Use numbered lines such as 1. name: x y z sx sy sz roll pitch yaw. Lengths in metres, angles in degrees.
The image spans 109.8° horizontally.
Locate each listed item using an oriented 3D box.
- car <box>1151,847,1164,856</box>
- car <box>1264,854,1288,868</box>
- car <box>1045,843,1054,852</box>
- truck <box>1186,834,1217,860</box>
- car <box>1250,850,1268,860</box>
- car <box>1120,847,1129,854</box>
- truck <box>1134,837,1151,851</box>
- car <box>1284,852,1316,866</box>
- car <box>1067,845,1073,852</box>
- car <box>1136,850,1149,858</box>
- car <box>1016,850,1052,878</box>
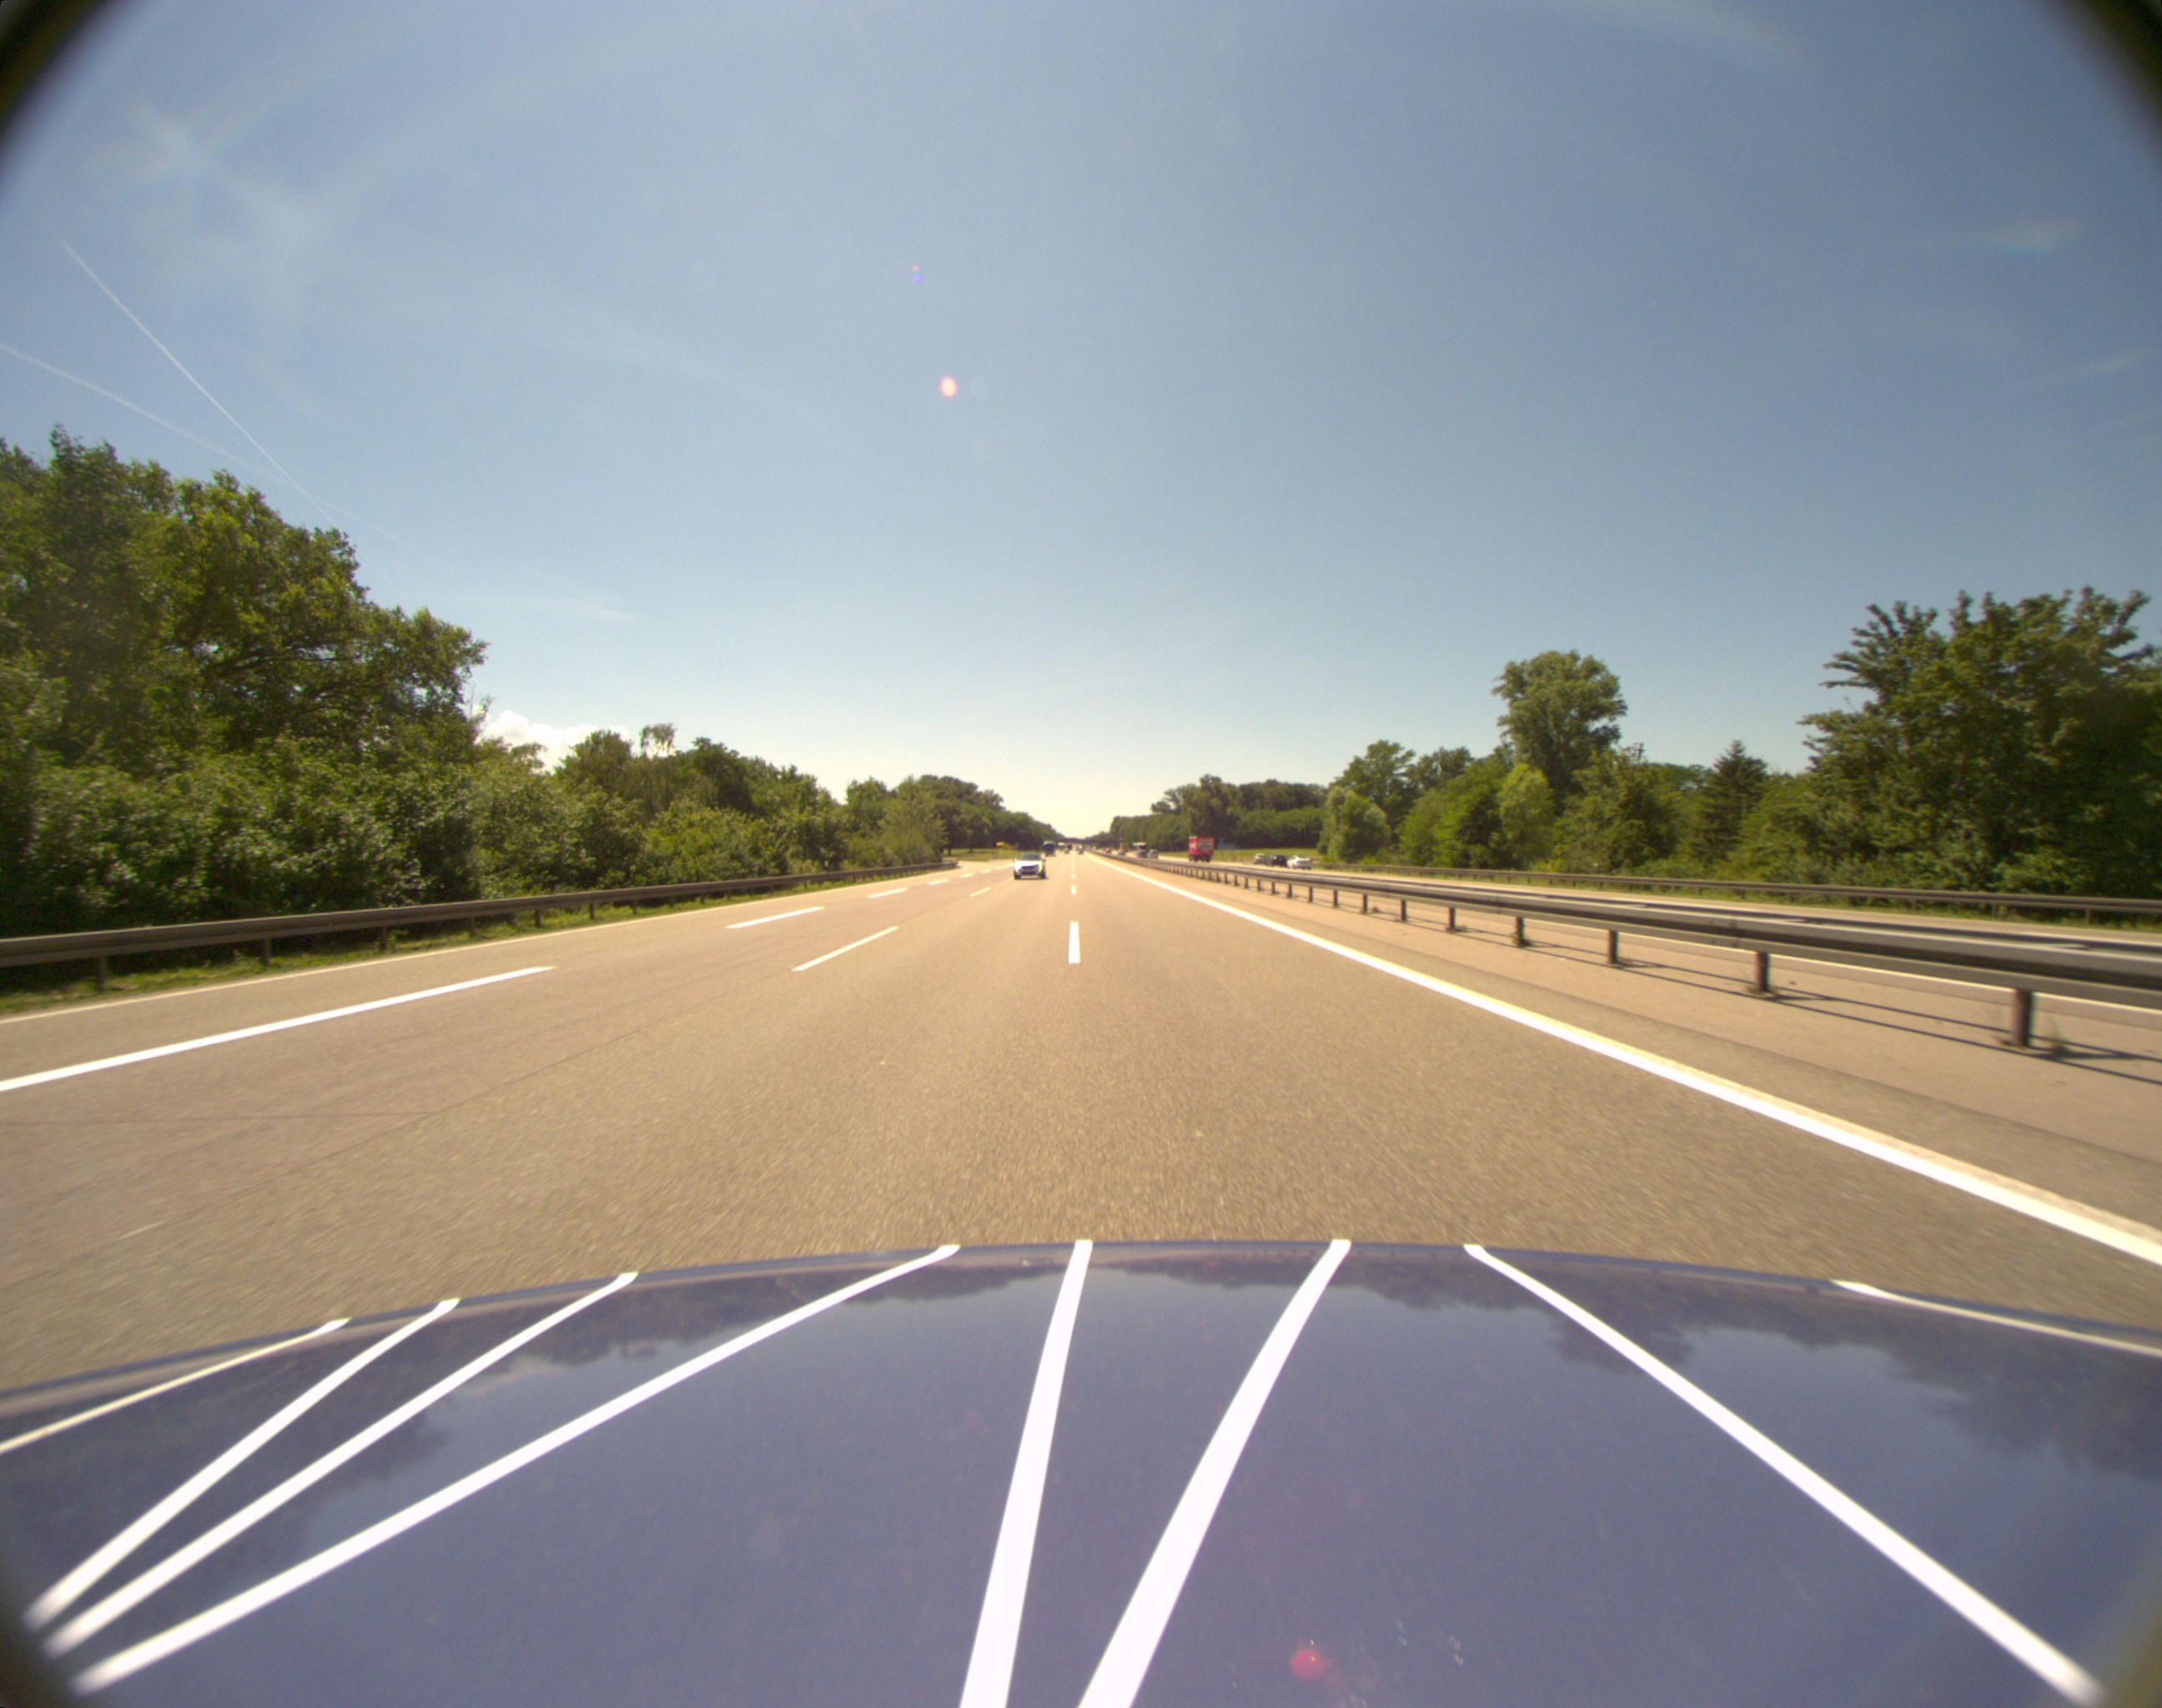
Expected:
1. car: 14.946 -0.514 148.082 1.998 1.617 4.543 1 1 0
2. car: 23.434 0.856 91.467 1.998 1.569 4.267 0 1 2
3. car: -7.703 -1.622 186.875 2.301 2.002 4.794 0 1 -2
4. truck: 18.073 -1.096 114.286 3.072 3.705 9.804 0 1 0
5. car: 27.264 0.168 116.445 1.997 1.501 4.722 2 1 5
6. car: 10.387 -0.893 182.838 1.998 1.543 5.223 0 1 0
7. truck: 18.020 -2.969 223.496 3.091 3.853 17.542 0 1 -1
8. car: 23.183 0.457 80.497 1.998 1.404 4.972 0 1 0
9. car: -3.438 -1.713 235.489 1.840 2.002 3.999 0 1 0
10. car: 11.053 0.015 135.876 1.901 1.497 4.116 0 1 -1
11. car: -2.792 0.552 45.749 1.845 1.565 3.999 -1 1 0
